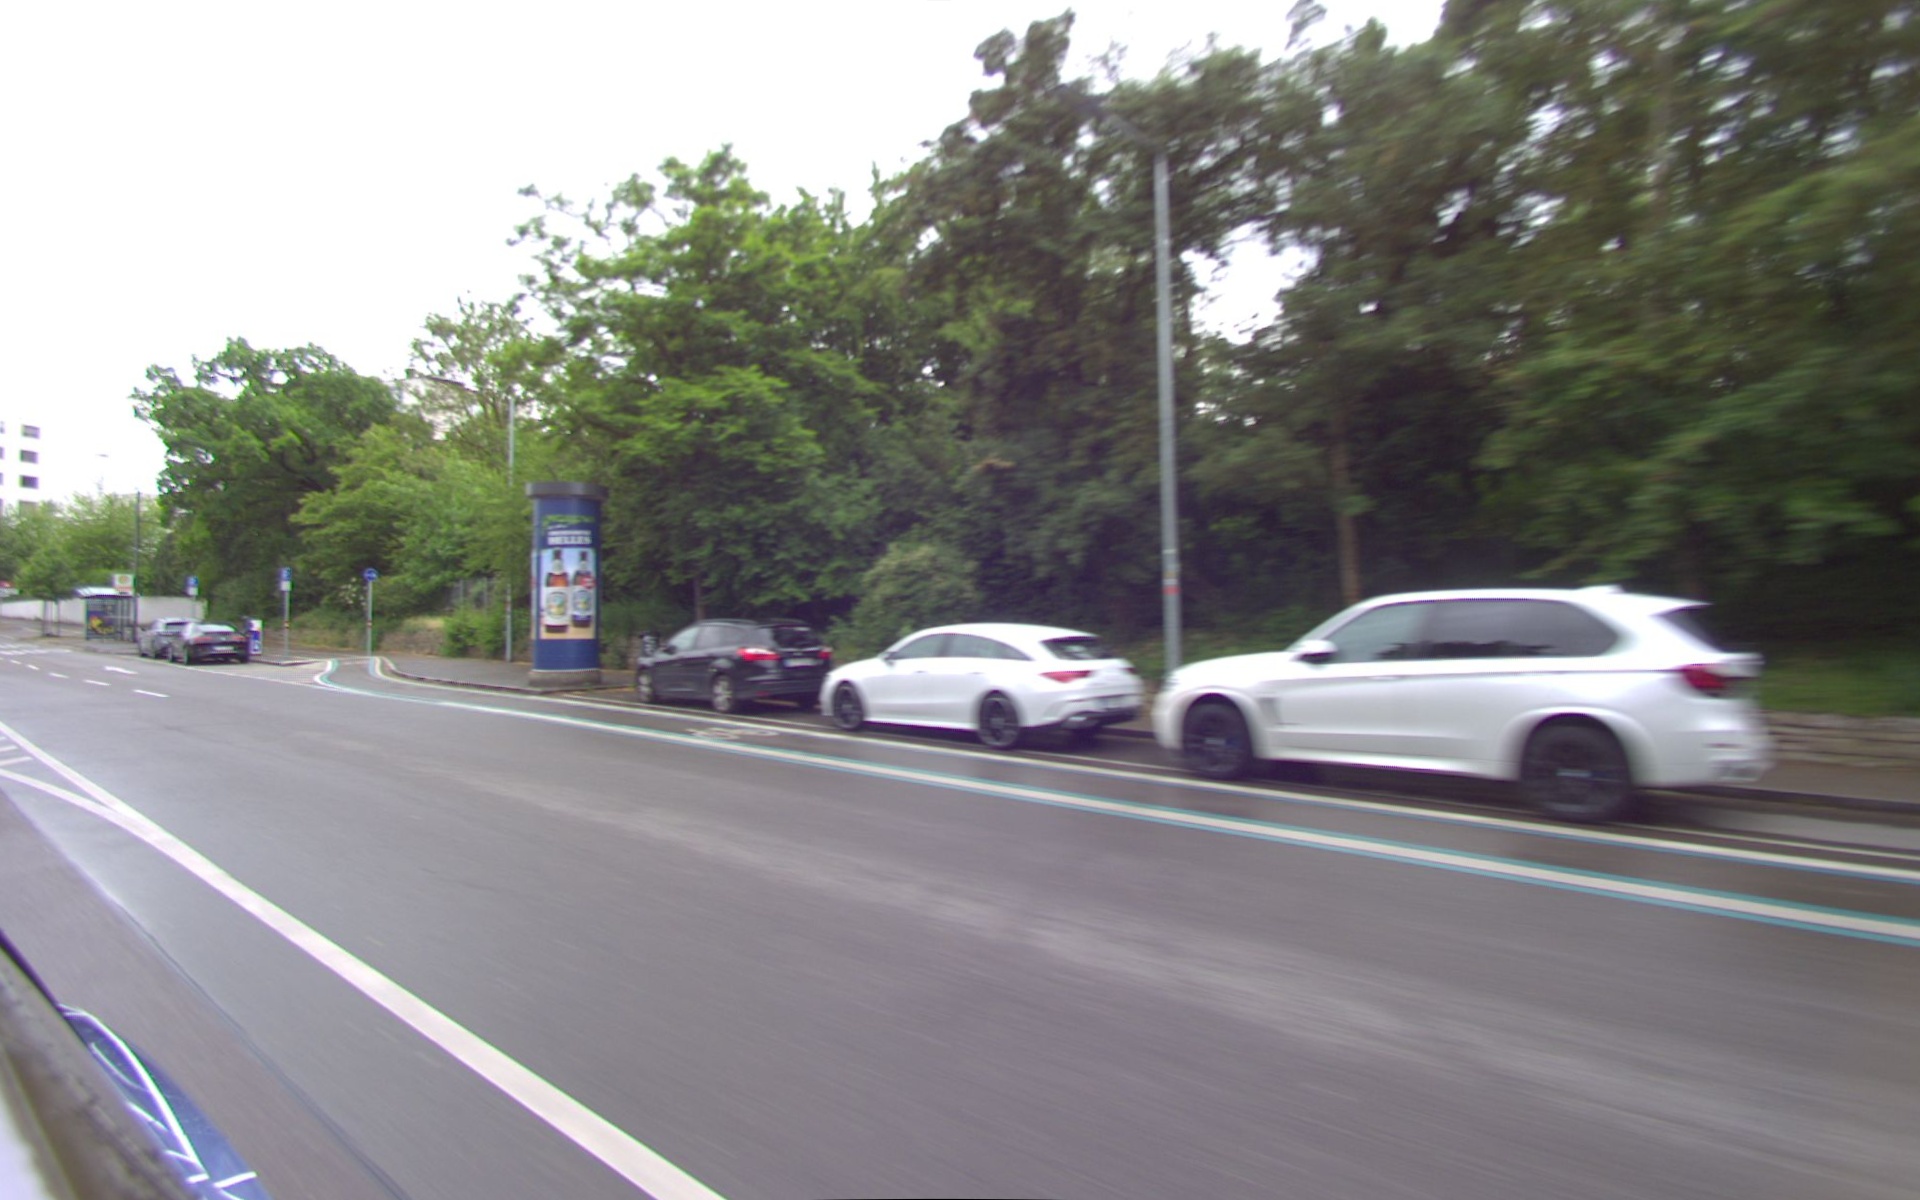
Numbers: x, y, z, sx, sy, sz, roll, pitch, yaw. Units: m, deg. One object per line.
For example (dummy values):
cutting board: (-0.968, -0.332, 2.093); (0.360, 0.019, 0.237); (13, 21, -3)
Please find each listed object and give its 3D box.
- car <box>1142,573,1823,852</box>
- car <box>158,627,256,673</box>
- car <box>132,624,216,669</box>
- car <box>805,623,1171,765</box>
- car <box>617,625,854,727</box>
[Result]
car: (4.251, 0.776, 8.882); (4.960, 1.779, 1.972); (-2, -2, 43)
car: (-26.351, 1.687, 35.344); (4.782, 1.425, 1.885); (-1, 0, 43)
car: (-30.888, 1.763, 39.701); (4.928, 1.601, 1.821); (-1, 0, 43)
car: (0.173, 1.052, 12.798); (4.709, 1.471, 1.699); (-2, -2, 44)
car: (-3.886, 1.180, 16.952); (1.729, 1.456, 4.590); (0, -2, -44)
